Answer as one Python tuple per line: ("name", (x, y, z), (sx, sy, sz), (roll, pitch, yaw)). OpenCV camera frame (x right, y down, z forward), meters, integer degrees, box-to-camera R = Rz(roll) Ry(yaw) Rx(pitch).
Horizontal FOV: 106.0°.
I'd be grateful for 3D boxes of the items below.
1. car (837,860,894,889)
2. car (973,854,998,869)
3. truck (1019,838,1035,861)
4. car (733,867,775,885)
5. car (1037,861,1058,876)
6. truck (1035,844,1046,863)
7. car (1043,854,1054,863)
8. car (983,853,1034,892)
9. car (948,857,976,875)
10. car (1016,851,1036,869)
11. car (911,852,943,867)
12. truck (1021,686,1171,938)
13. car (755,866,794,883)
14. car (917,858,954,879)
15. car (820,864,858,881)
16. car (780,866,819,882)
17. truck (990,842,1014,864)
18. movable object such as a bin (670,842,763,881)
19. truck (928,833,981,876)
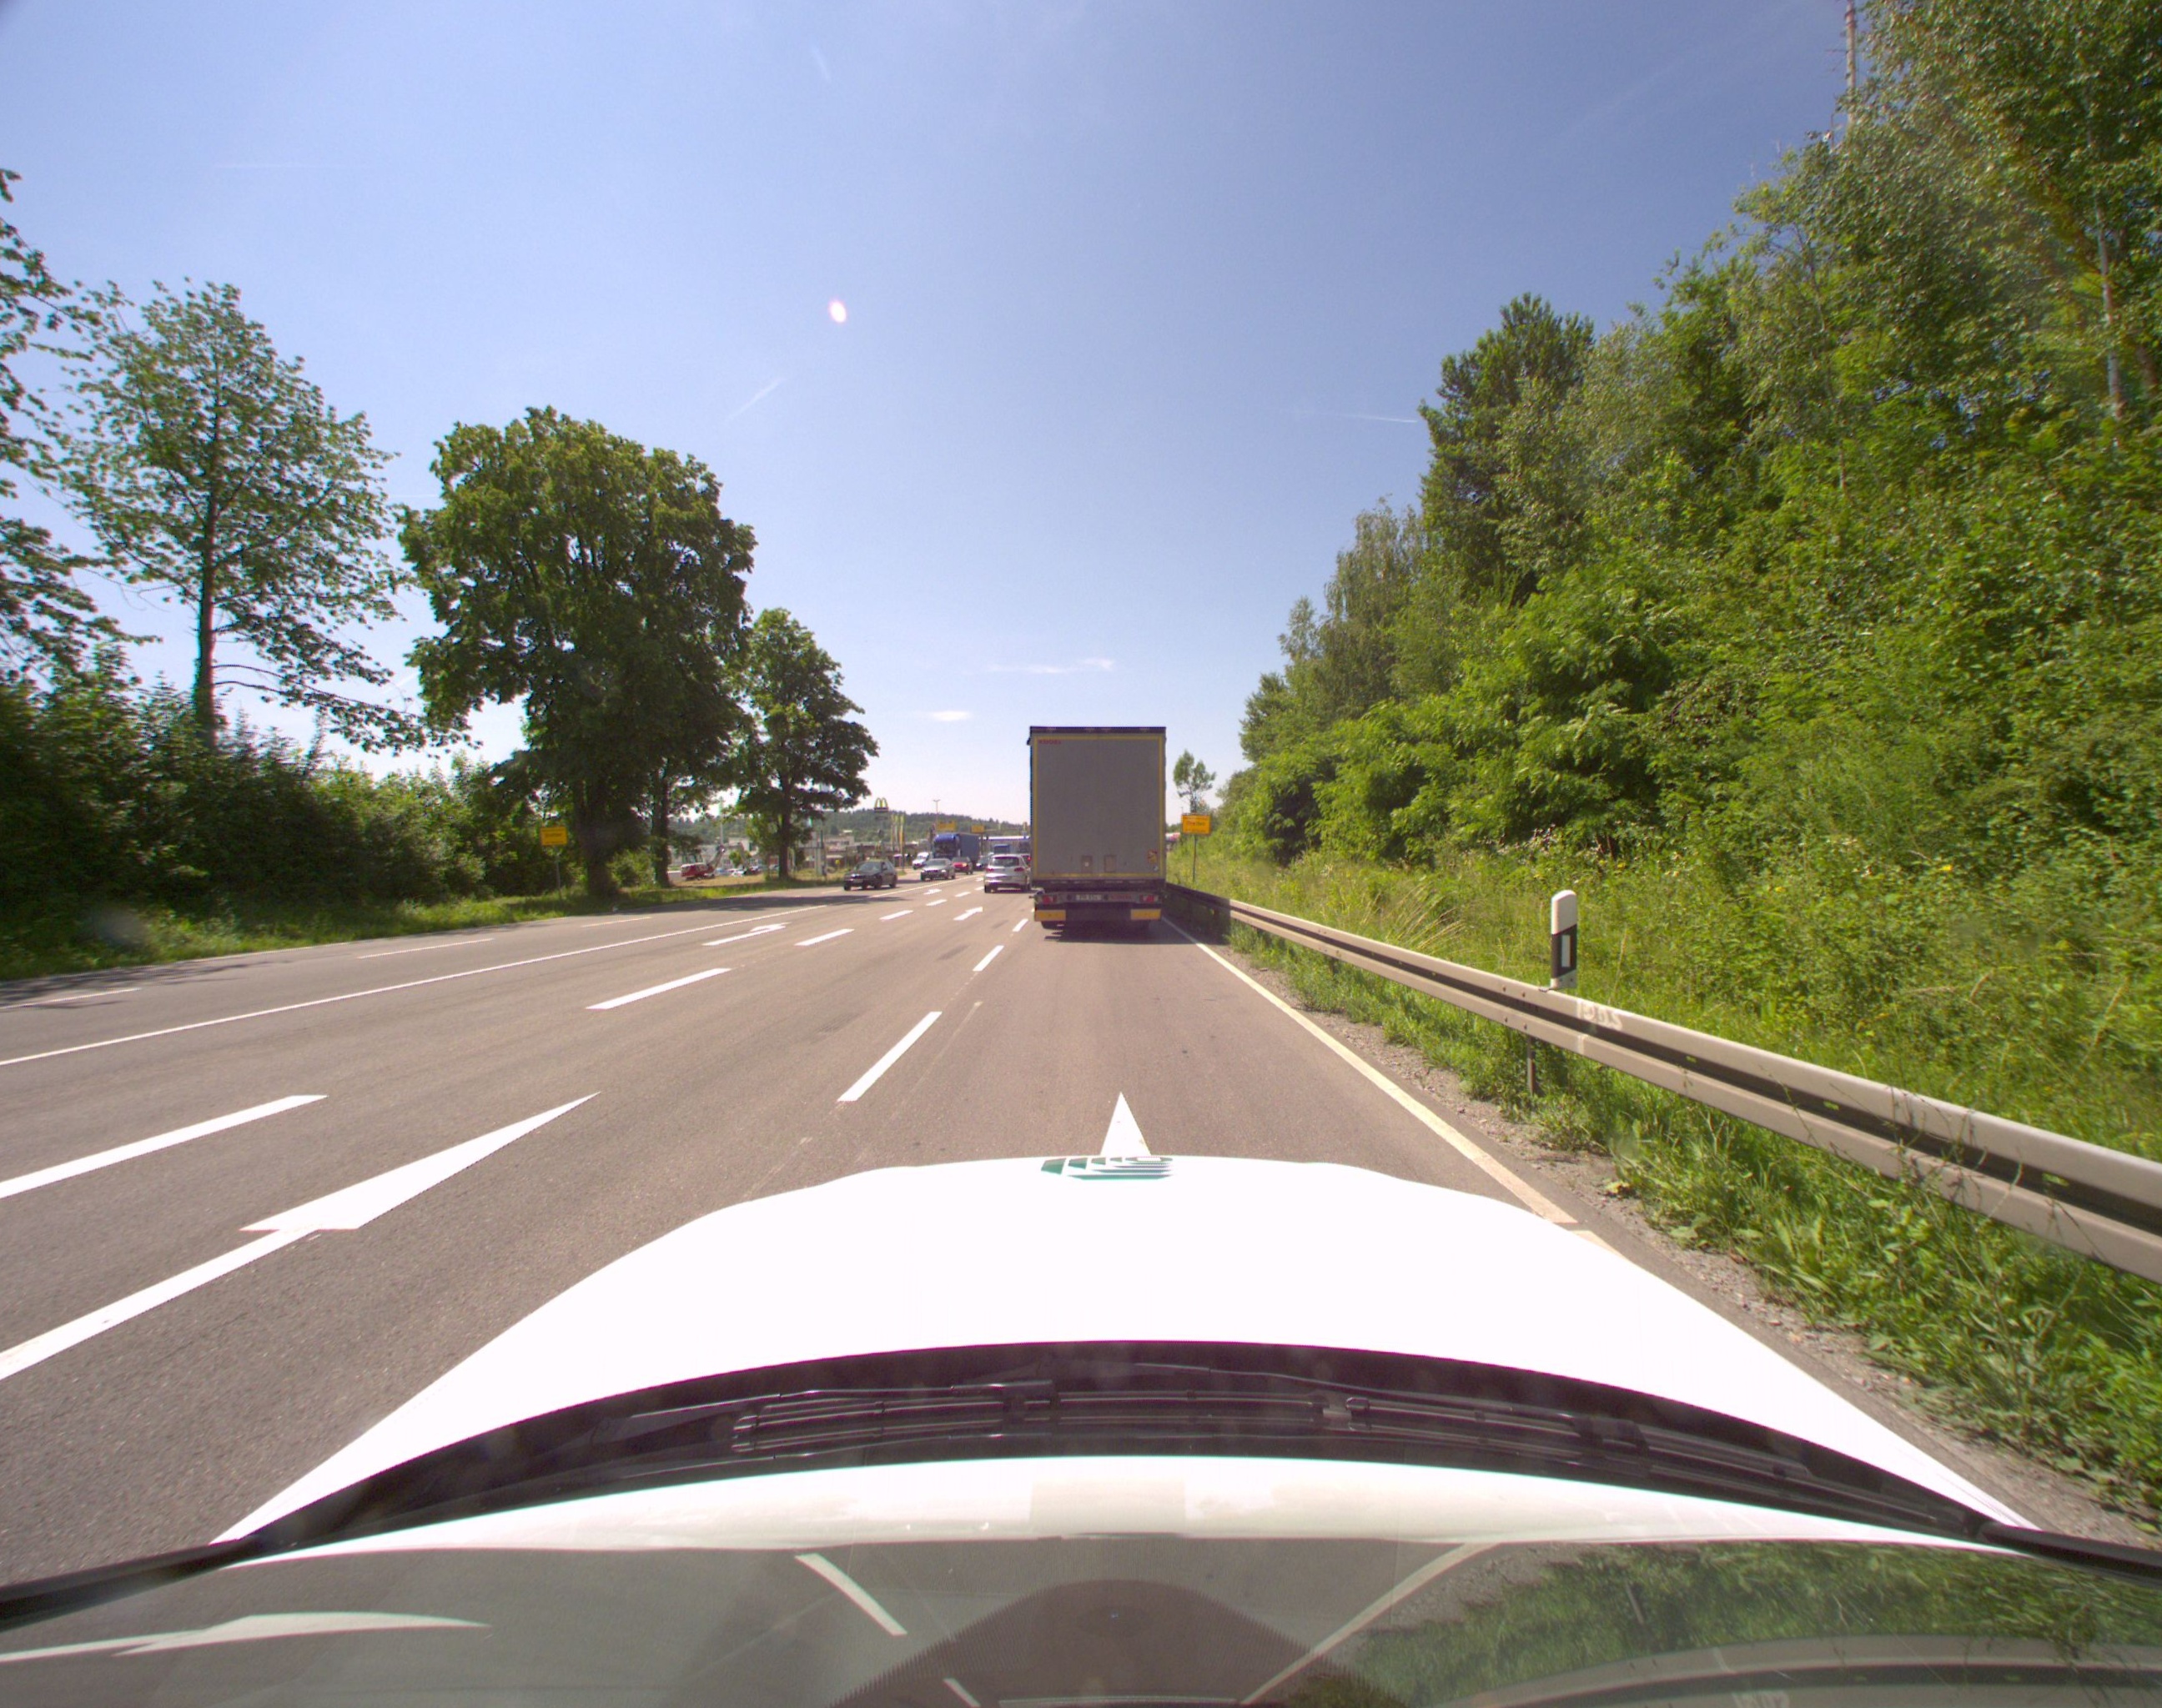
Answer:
("car", (-10.705, 1.014, 40.679), (1.761, 1.386, 3.999), (0, -1, 0))
("car", (-9.785, 0.725, 83.746), (1.912, 1.481, 4.687), (-1, 0, 1))
("truck", (-11.325, -0.833, 170.535), (3.140, 4.349, 17.515), (-1, 0, -4))
("car", (-31.879, 2.169, 79.341), (3.948, 1.651, 2.013), (-1, 0, 38))
("car", (-3.227, 1.369, 79.149), (1.679, 1.398, 4.405), (-1, -1, 2))
("truck", (-10.304, -0.028, 205.881), (2.534, 4.627, 10.815), (0, -1, -4))
("car", (-7.219, 1.003, 182.143), (2.483, 2.014, 5.525), (0, -1, -1))
("car", (-3.184, 0.782, 36.551), (1.798, 1.670, 4.293), (0, 0, 2))
("car", (-10.037, 0.965, 68.810), (1.635, 1.438, 4.017), (-1, 0, 1))
("car", (-6.621, 0.711, 97.830), (1.986, 2.014, 4.001), (-1, 0, 1))
("car", (-22.799, 0.770, 120.722), (1.975, 2.183, 5.223), (-1, 0, 25))
("truck", (0.527, -0.637, 23.336), (2.745, 4.639, 16.660), (0, -1, 2))
("car", (-30.605, 2.070, 81.200), (3.948, 1.618, 1.852), (-1, 0, 38))
("car", (-9.747, 0.967, 54.951), (1.761, 1.386, 3.999), (0, -1, 0))
("car", (-25.198, 1.925, 84.703), (3.948, 1.618, 1.852), (-1, 0, 38))
("car", (-28.853, 2.035, 83.371), (3.948, 1.618, 1.852), (-1, 0, 38))
("truck", (-12.727, -0.059, 132.000), (2.837, 3.351, 11.479), (-1, 0, 0))
("movable object such as a bin", (-32.068, 0.609, 71.893), (3.013, 3.298, 6.834), (-1, 0, 41))
("truck", (-13.501, 0.100, 88.617), (2.958, 4.177, 16.575), (-1, 0, 1))
